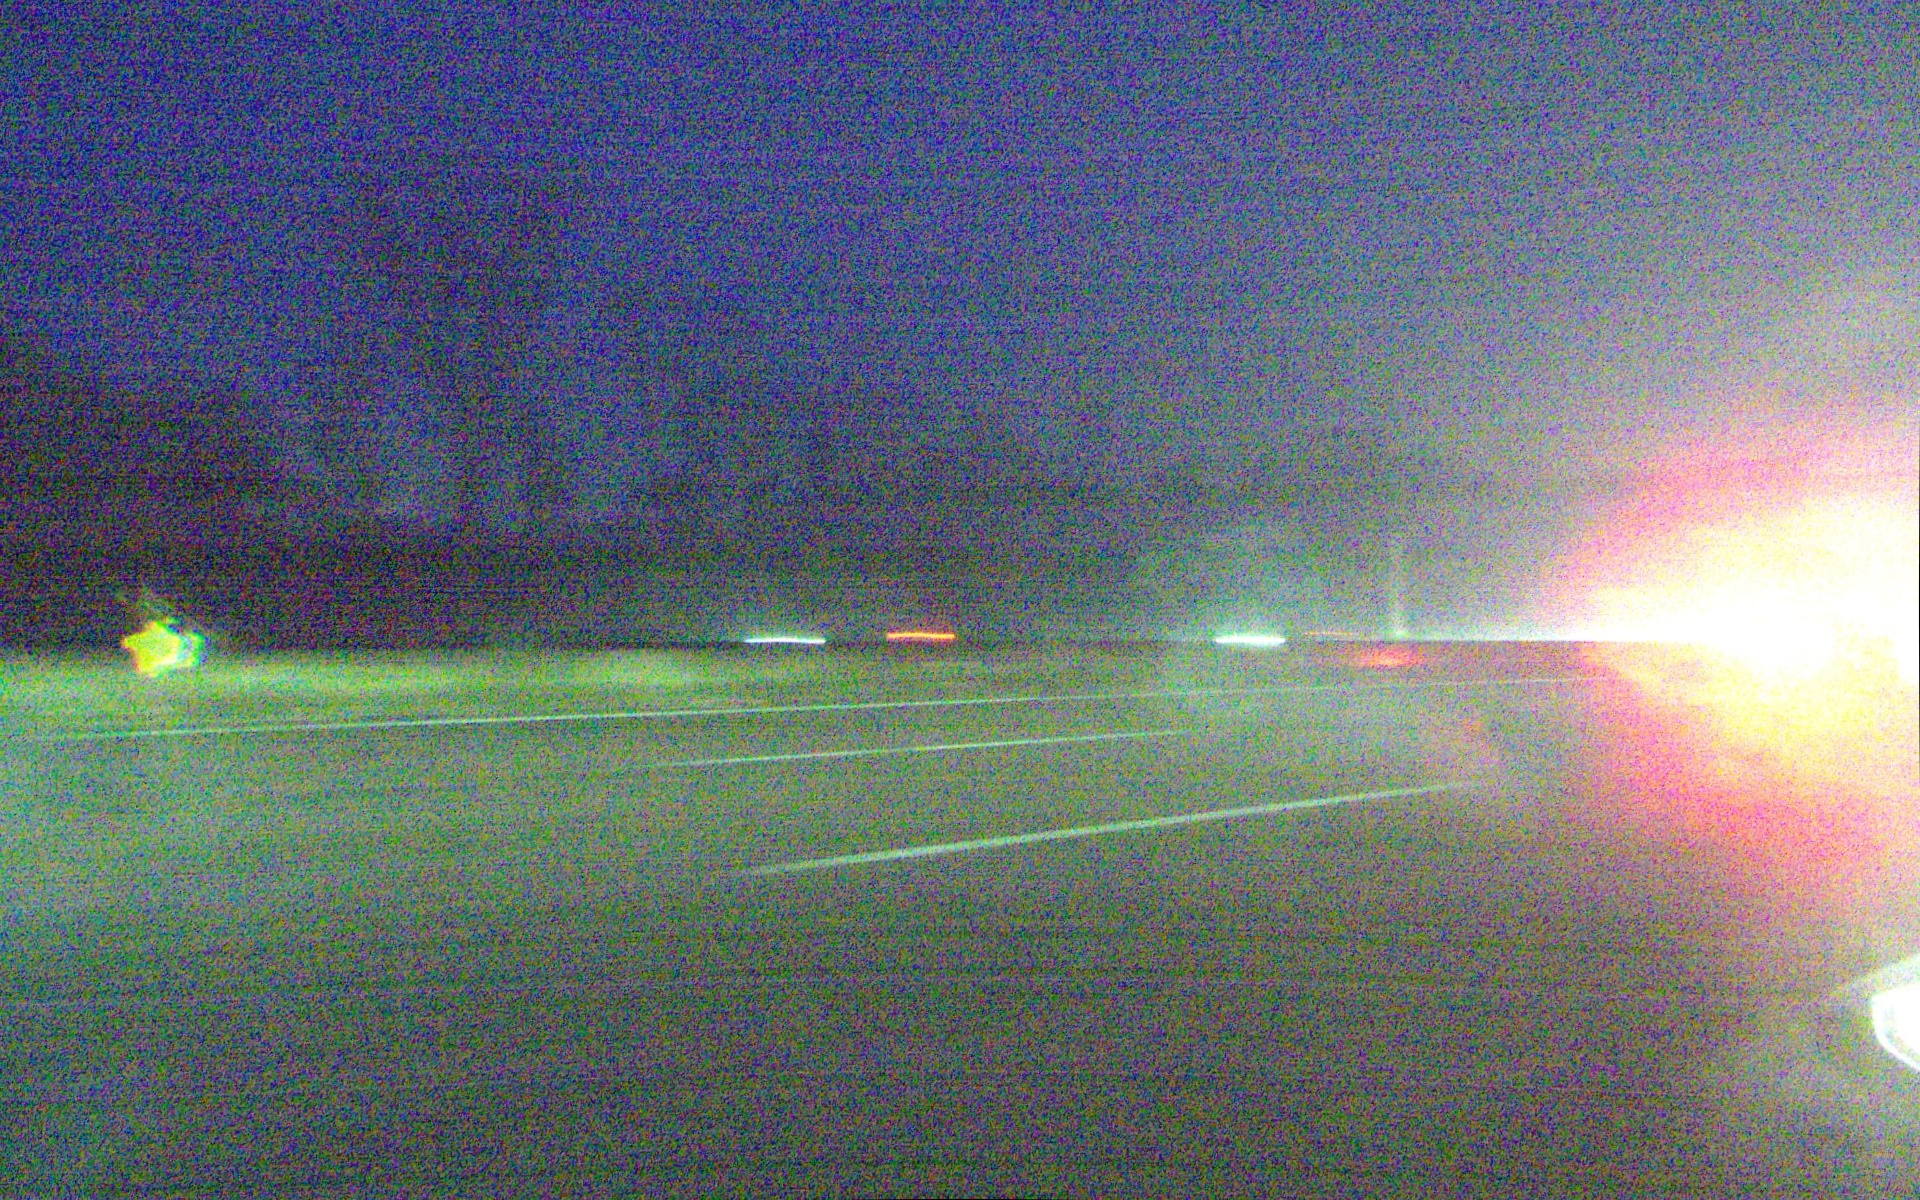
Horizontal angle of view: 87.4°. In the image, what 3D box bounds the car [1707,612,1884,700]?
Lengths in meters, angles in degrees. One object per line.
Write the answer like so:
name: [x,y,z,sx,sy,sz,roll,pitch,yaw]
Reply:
car: [17.585,1.123,21.099,3.963,1.617,1.979,2,0,-37]
